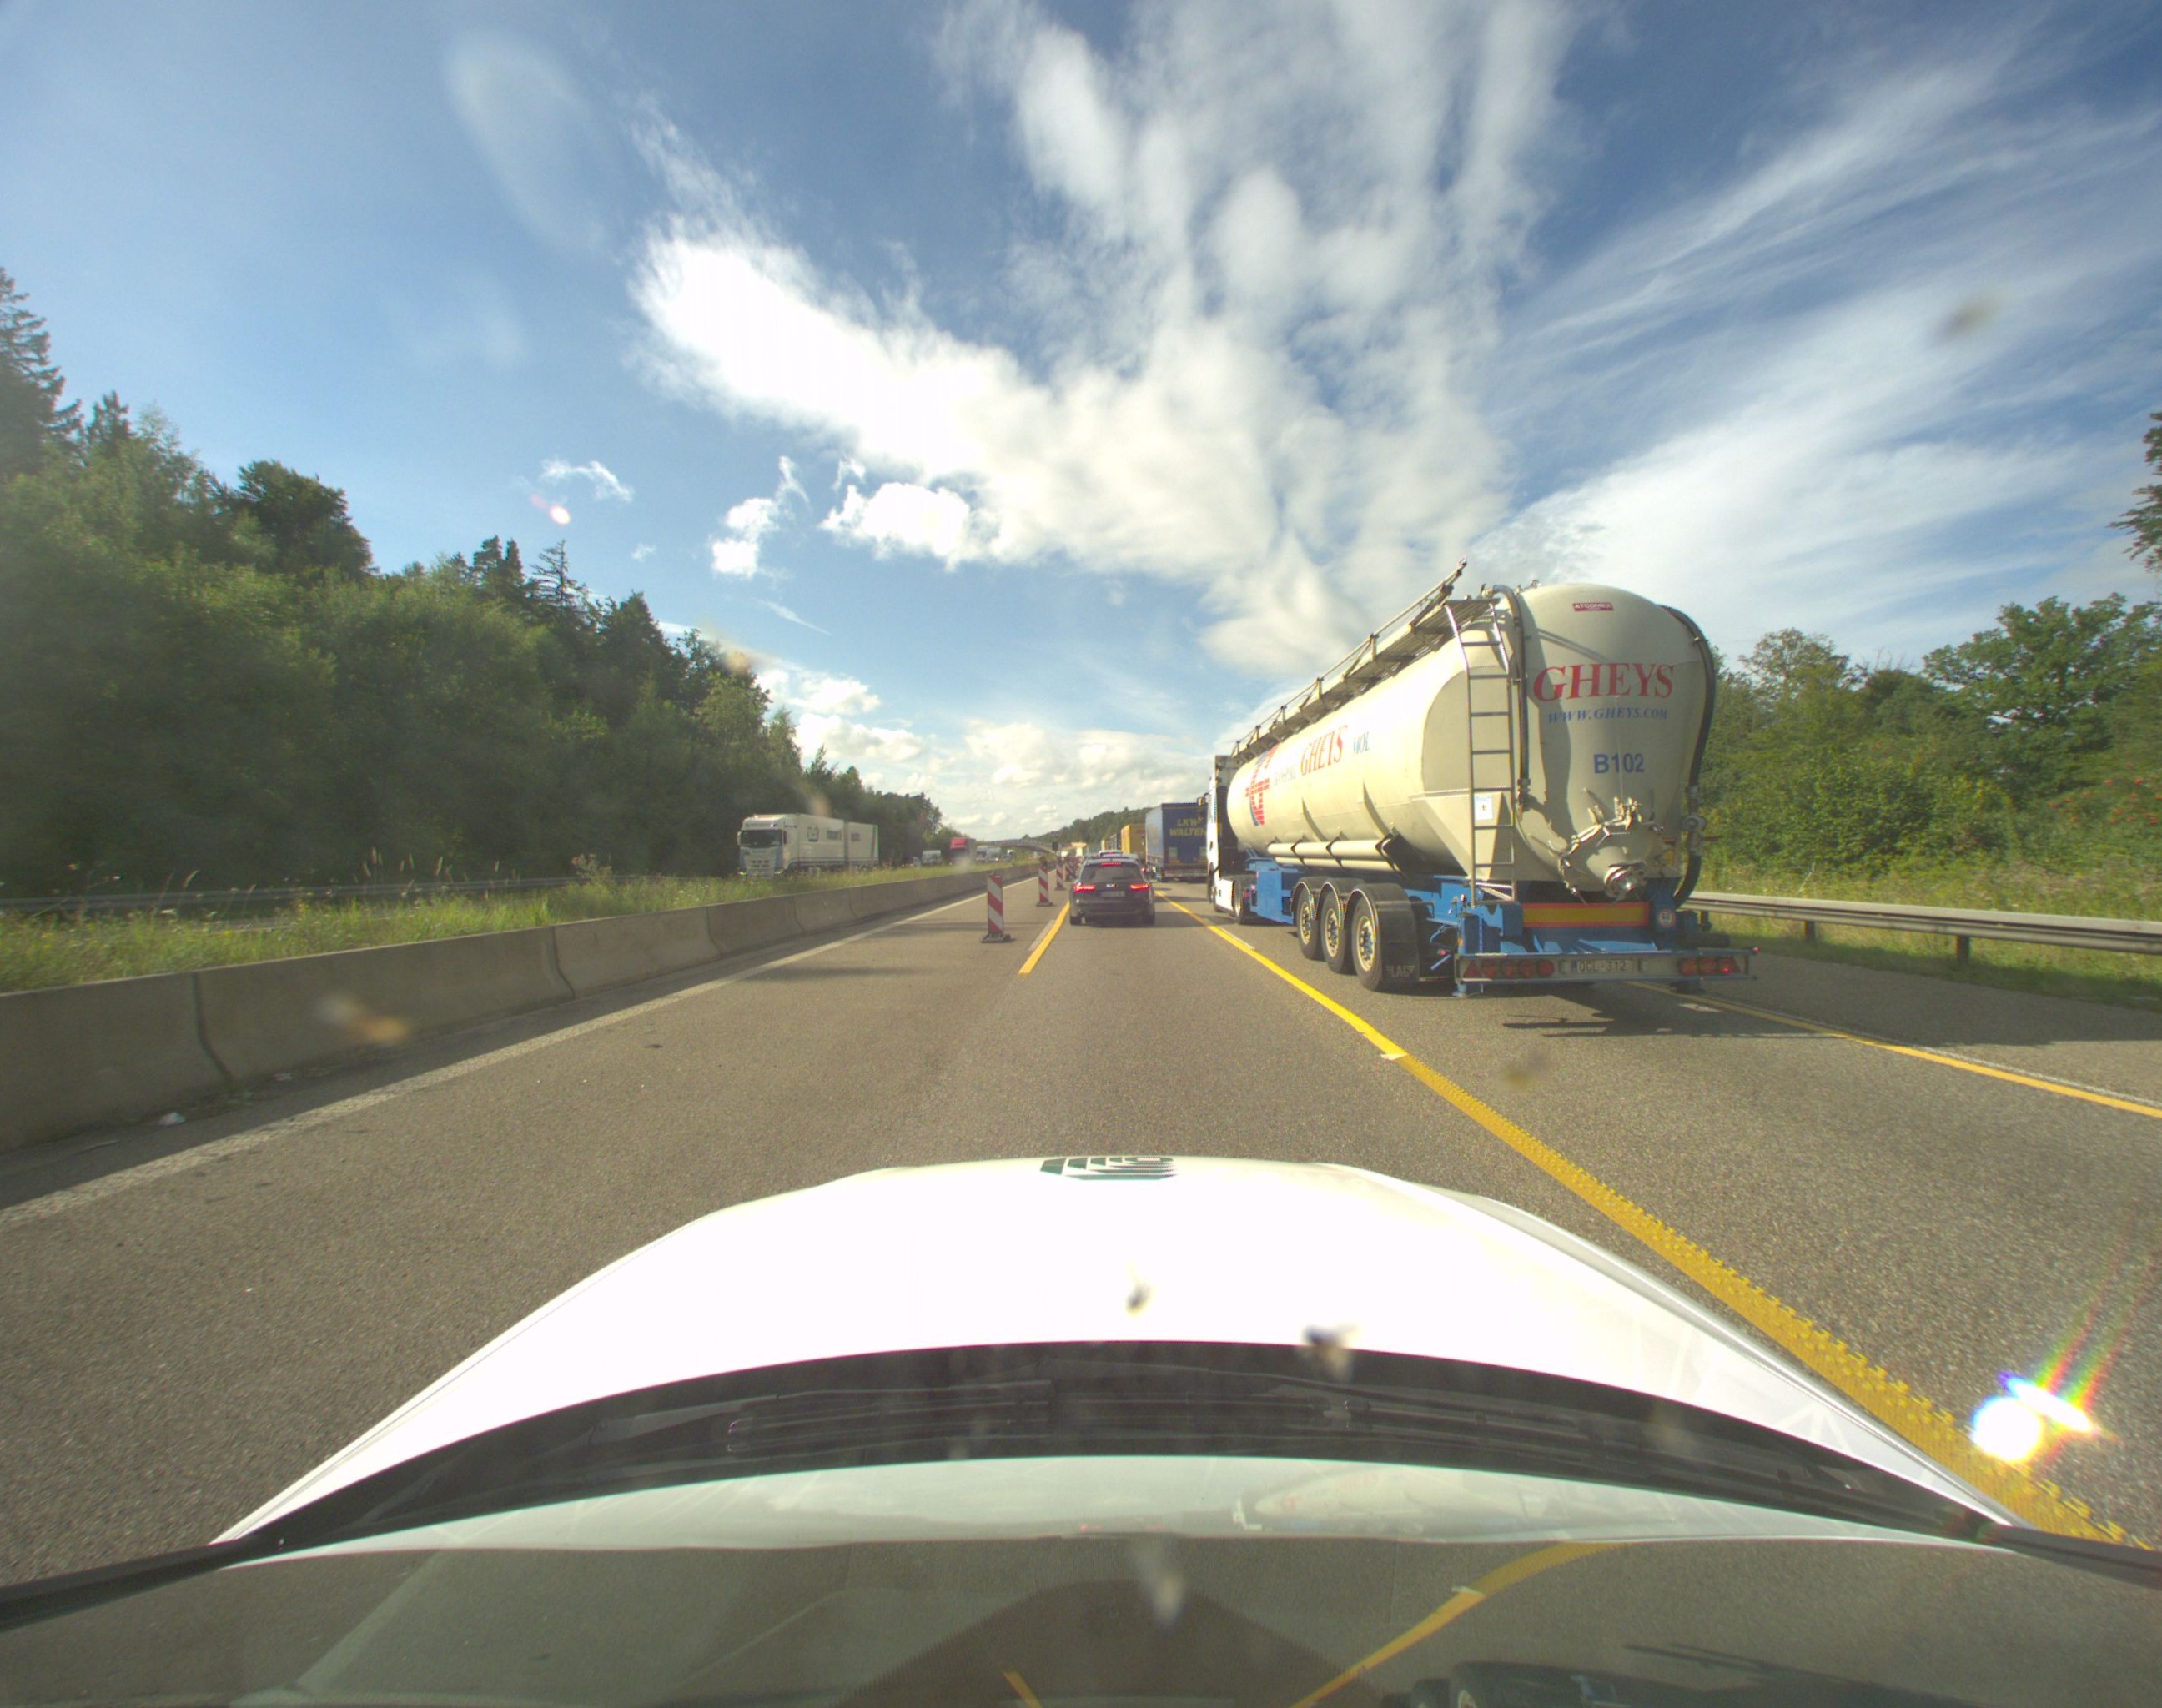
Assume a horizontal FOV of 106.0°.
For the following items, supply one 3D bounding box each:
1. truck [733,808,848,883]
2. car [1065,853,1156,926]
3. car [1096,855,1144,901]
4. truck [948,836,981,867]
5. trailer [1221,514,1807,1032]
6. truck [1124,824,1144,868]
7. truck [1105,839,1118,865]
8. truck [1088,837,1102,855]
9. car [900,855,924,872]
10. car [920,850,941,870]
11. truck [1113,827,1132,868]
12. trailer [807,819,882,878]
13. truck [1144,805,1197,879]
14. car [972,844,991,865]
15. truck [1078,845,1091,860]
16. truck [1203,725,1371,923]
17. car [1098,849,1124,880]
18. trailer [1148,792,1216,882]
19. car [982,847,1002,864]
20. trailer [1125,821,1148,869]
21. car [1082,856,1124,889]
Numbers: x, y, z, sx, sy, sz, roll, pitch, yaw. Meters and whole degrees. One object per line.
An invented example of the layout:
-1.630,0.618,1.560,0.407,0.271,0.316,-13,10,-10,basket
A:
-17.191,-0.402,49.233,2.772,3.985,10.865,0,-1,1,truck
0.674,0.749,18.811,1.842,1.463,4.001,-1,-1,2,car
1.289,0.778,27.399,1.518,1.439,3.286,0,-1,2,car
-15.924,-0.298,111.895,2.790,3.992,10.189,0,0,2,truck
4.382,-0.599,12.528,2.634,3.943,12.602,0,0,2,trailer
4.853,-0.667,74.594,1.604,3.897,4.072,0,-1,1,truck
5.007,-0.236,135.716,2.130,4.257,7.073,0,-1,1,truck
3.399,-1.882,198.944,3.293,4.175,9.700,-1,0,0,truck
-20.980,1.193,101.109,1.986,2.014,4.001,0,-1,2,car
-20.478,0.763,110.969,2.247,2.643,5.009,0,-1,-6,car
5.169,-0.802,102.595,1.987,4.914,9.562,0,0,0,truck
-16.916,-0.347,58.947,2.780,3.923,8.490,0,-1,1,trailer
5.643,-0.677,52.677,2.796,4.370,7.794,0,-1,2,truck
-16.770,0.114,137.952,2.480,3.370,7.446,0,-1,-2,car
0.960,-0.481,229.144,3.295,4.175,9.696,-1,0,-1,truck
4.573,-0.579,19.264,2.649,3.972,5.780,0,-1,2,truck
1.837,0.640,50.307,1.575,1.837,3.113,0,-1,2,car
5.413,-0.786,45.337,2.795,4.413,10.436,0,-1,2,trailer
-13.208,0.171,121.461,2.152,2.451,6.334,0,0,2,car
4.787,-0.718,70.481,1.611,3.918,6.490,0,-1,1,trailer
0.986,0.801,36.121,1.745,1.397,3.609,0,-1,2,car
